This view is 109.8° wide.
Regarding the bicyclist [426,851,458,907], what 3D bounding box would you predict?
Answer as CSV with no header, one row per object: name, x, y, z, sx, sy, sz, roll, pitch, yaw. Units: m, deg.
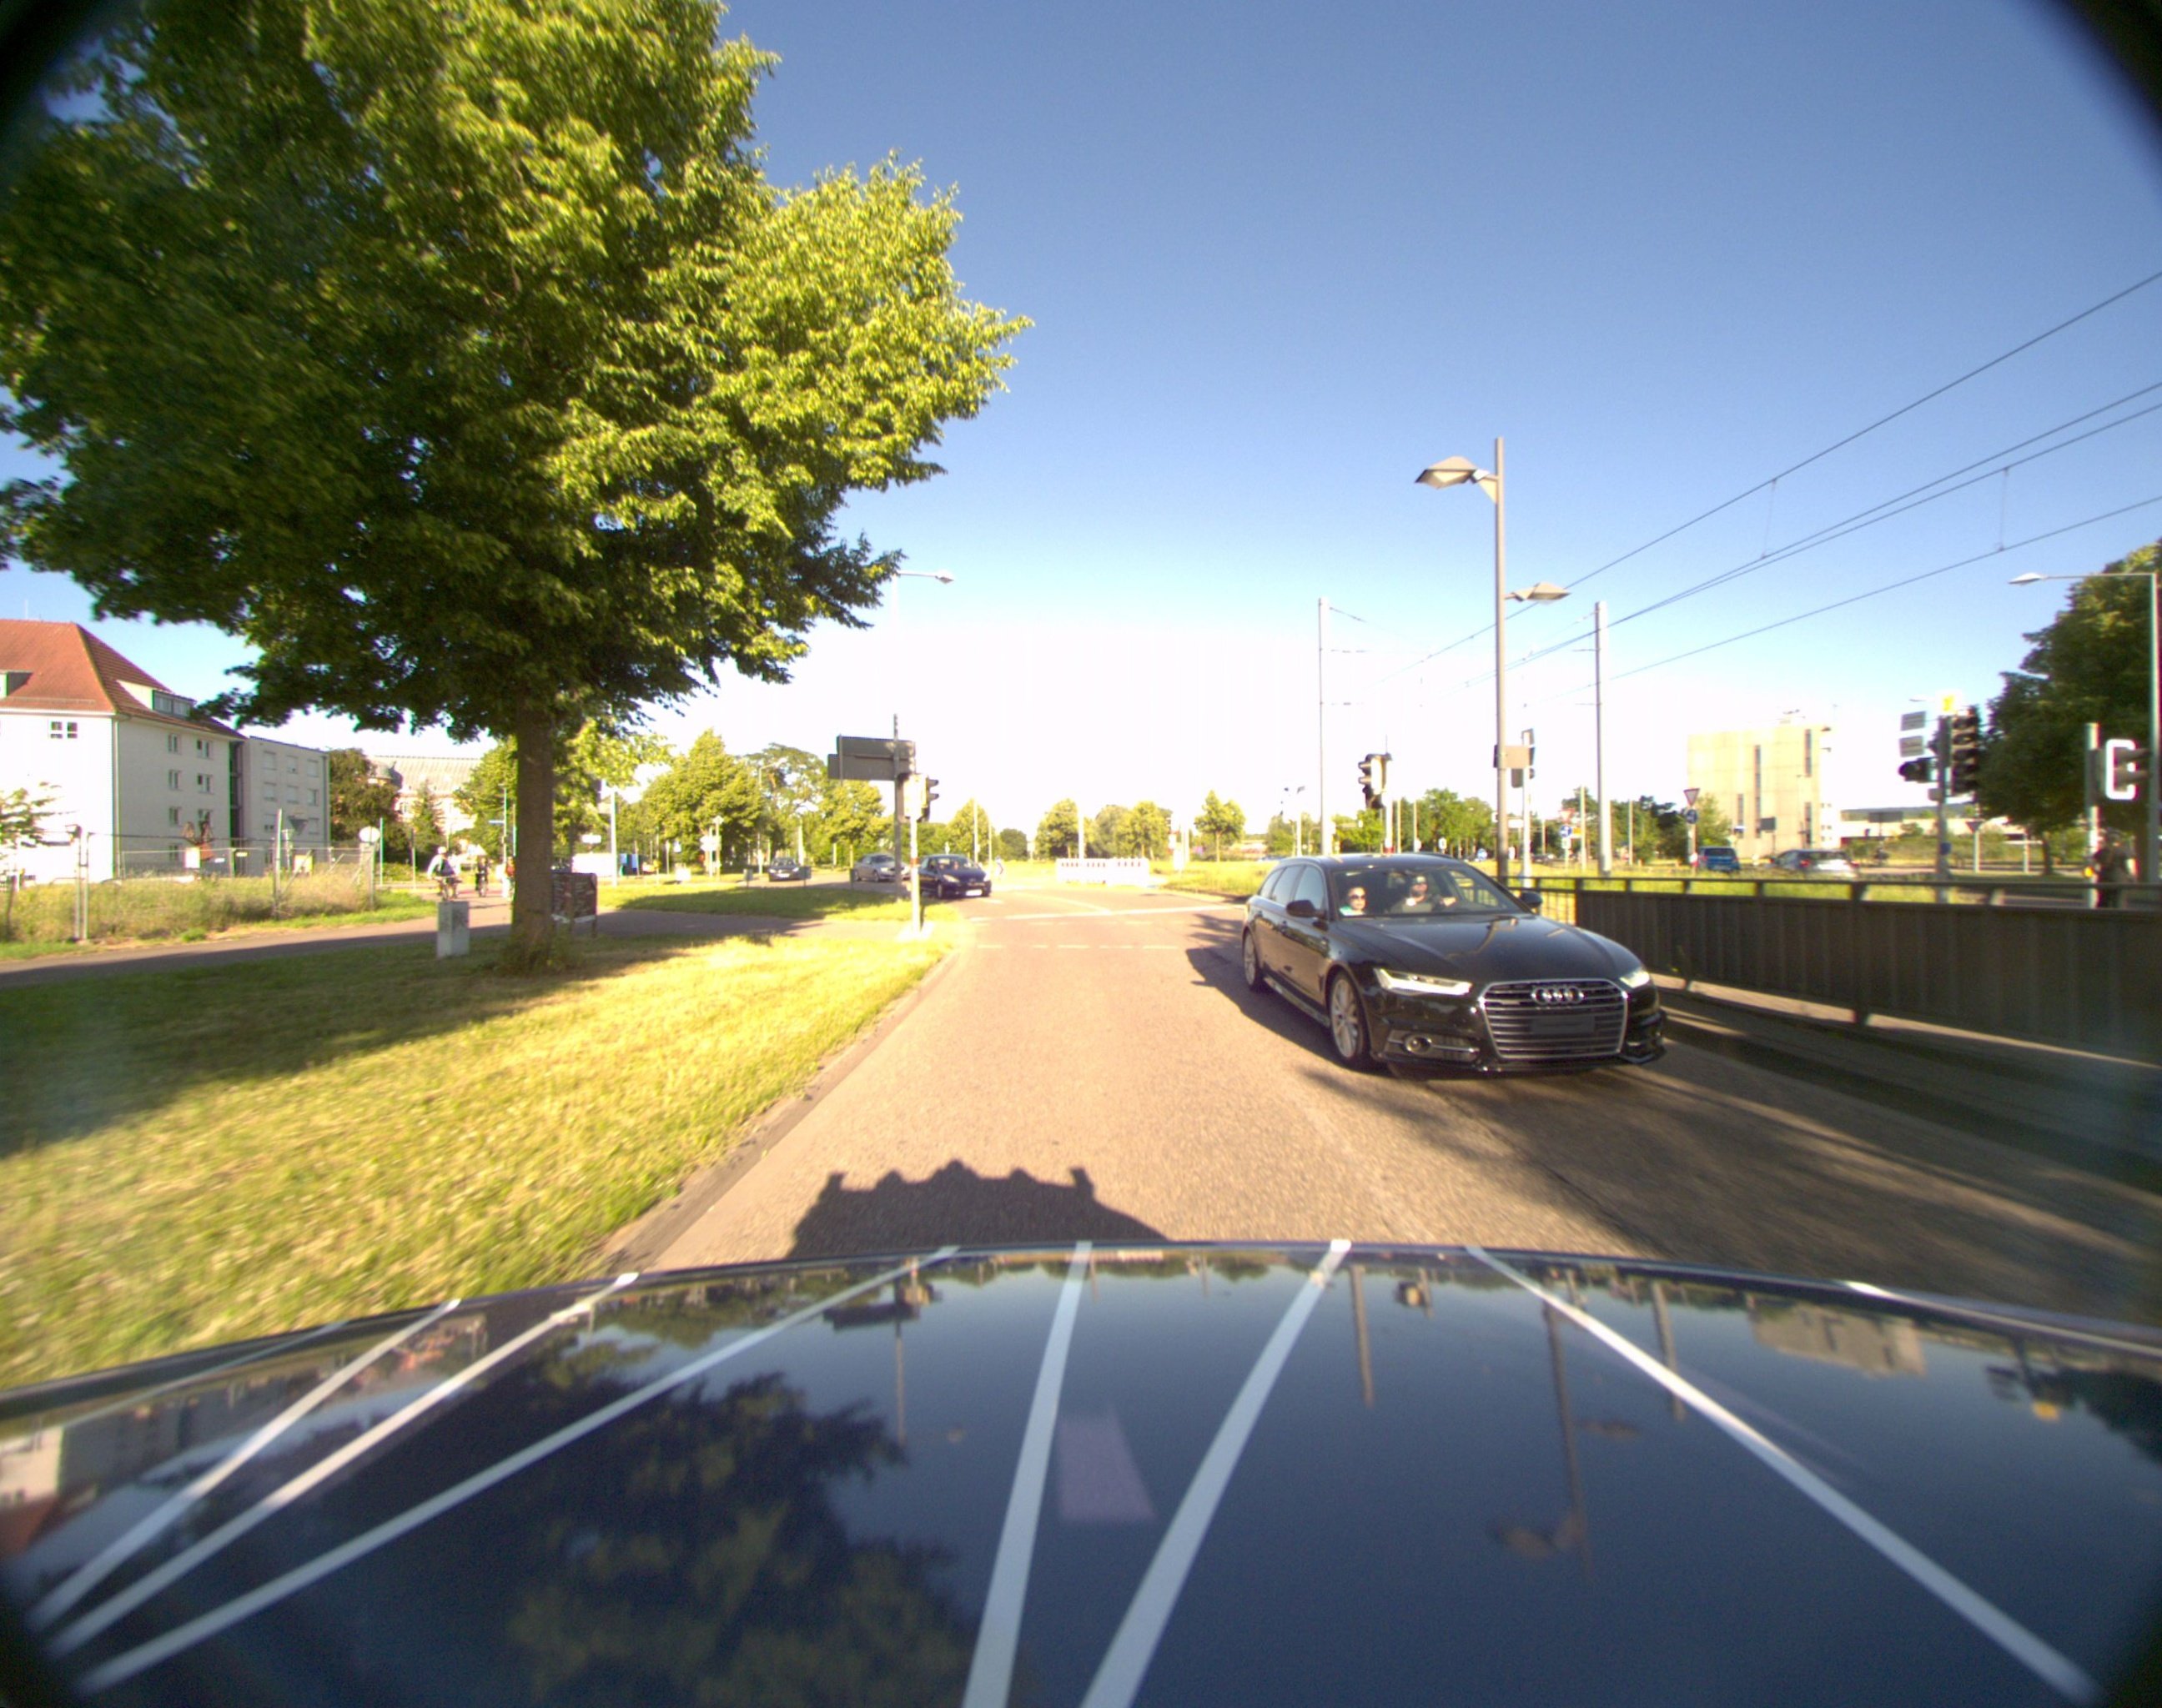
bicyclist,-18.024,0.693,21.429,0.656,1.544,0.792,-2,2,-40

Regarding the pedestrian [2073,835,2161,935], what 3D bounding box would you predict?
pedestrian,16.945,0.483,12.390,0.418,1.569,0.811,-1,2,-2

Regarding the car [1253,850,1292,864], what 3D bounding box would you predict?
car,21.971,0.335,87.245,4.010,1.420,1.801,-1,2,-6

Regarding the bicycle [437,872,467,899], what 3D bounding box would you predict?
bicycle,-23.915,1.189,28.885,1.895,0.955,0.594,0,2,43

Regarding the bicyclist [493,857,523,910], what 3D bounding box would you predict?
bicyclist,-16.398,0.820,21.759,0.505,1.464,0.832,-1,1,-26

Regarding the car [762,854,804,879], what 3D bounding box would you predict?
car,-17.946,0.723,45.623,1.853,1.420,3.938,-1,1,-28

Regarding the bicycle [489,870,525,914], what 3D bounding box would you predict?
bicycle,-16.351,1.056,21.663,0.508,1.145,1.601,0,1,-26

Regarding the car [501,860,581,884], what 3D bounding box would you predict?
car,-35.002,1.133,49.309,4.007,1.370,1.752,-3,2,-41

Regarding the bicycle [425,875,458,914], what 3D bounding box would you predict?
bicycle,-17.981,1.112,21.377,0.659,1.006,1.815,-1,1,-40

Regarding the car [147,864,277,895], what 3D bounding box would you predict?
car,-47.407,1.363,41.597,4.282,1.420,1.845,-2,2,-31

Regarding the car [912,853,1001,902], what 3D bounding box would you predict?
car,-4.436,0.754,26.639,1.767,1.507,3.938,-2,2,-29

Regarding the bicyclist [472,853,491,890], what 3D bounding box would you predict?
bicyclist,-24.238,0.697,30.716,0.472,1.478,0.913,-3,3,-42

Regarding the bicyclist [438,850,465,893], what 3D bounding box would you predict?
bicyclist,-23.874,0.649,28.820,0.963,1.578,0.594,1,3,42

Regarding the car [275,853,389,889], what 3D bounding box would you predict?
car,-38.276,0.847,38.928,3.567,1.740,2.022,-1,1,-15

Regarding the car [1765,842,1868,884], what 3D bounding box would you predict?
car,27.652,0.276,28.715,1.660,1.388,3.618,3,3,26

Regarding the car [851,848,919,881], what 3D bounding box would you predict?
car,-10.534,0.562,40.628,1.853,1.560,4.516,-4,2,-37

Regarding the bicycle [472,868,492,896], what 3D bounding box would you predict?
bicycle,-24.247,1.115,30.753,0.480,1.076,1.639,-3,3,-41

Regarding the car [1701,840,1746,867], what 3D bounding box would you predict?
car,33.373,-0.057,39.547,1.660,1.257,3.628,0,2,38

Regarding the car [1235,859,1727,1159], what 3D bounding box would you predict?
car,2.606,0.852,6.375,1.788,1.518,4.601,-2,0,2
